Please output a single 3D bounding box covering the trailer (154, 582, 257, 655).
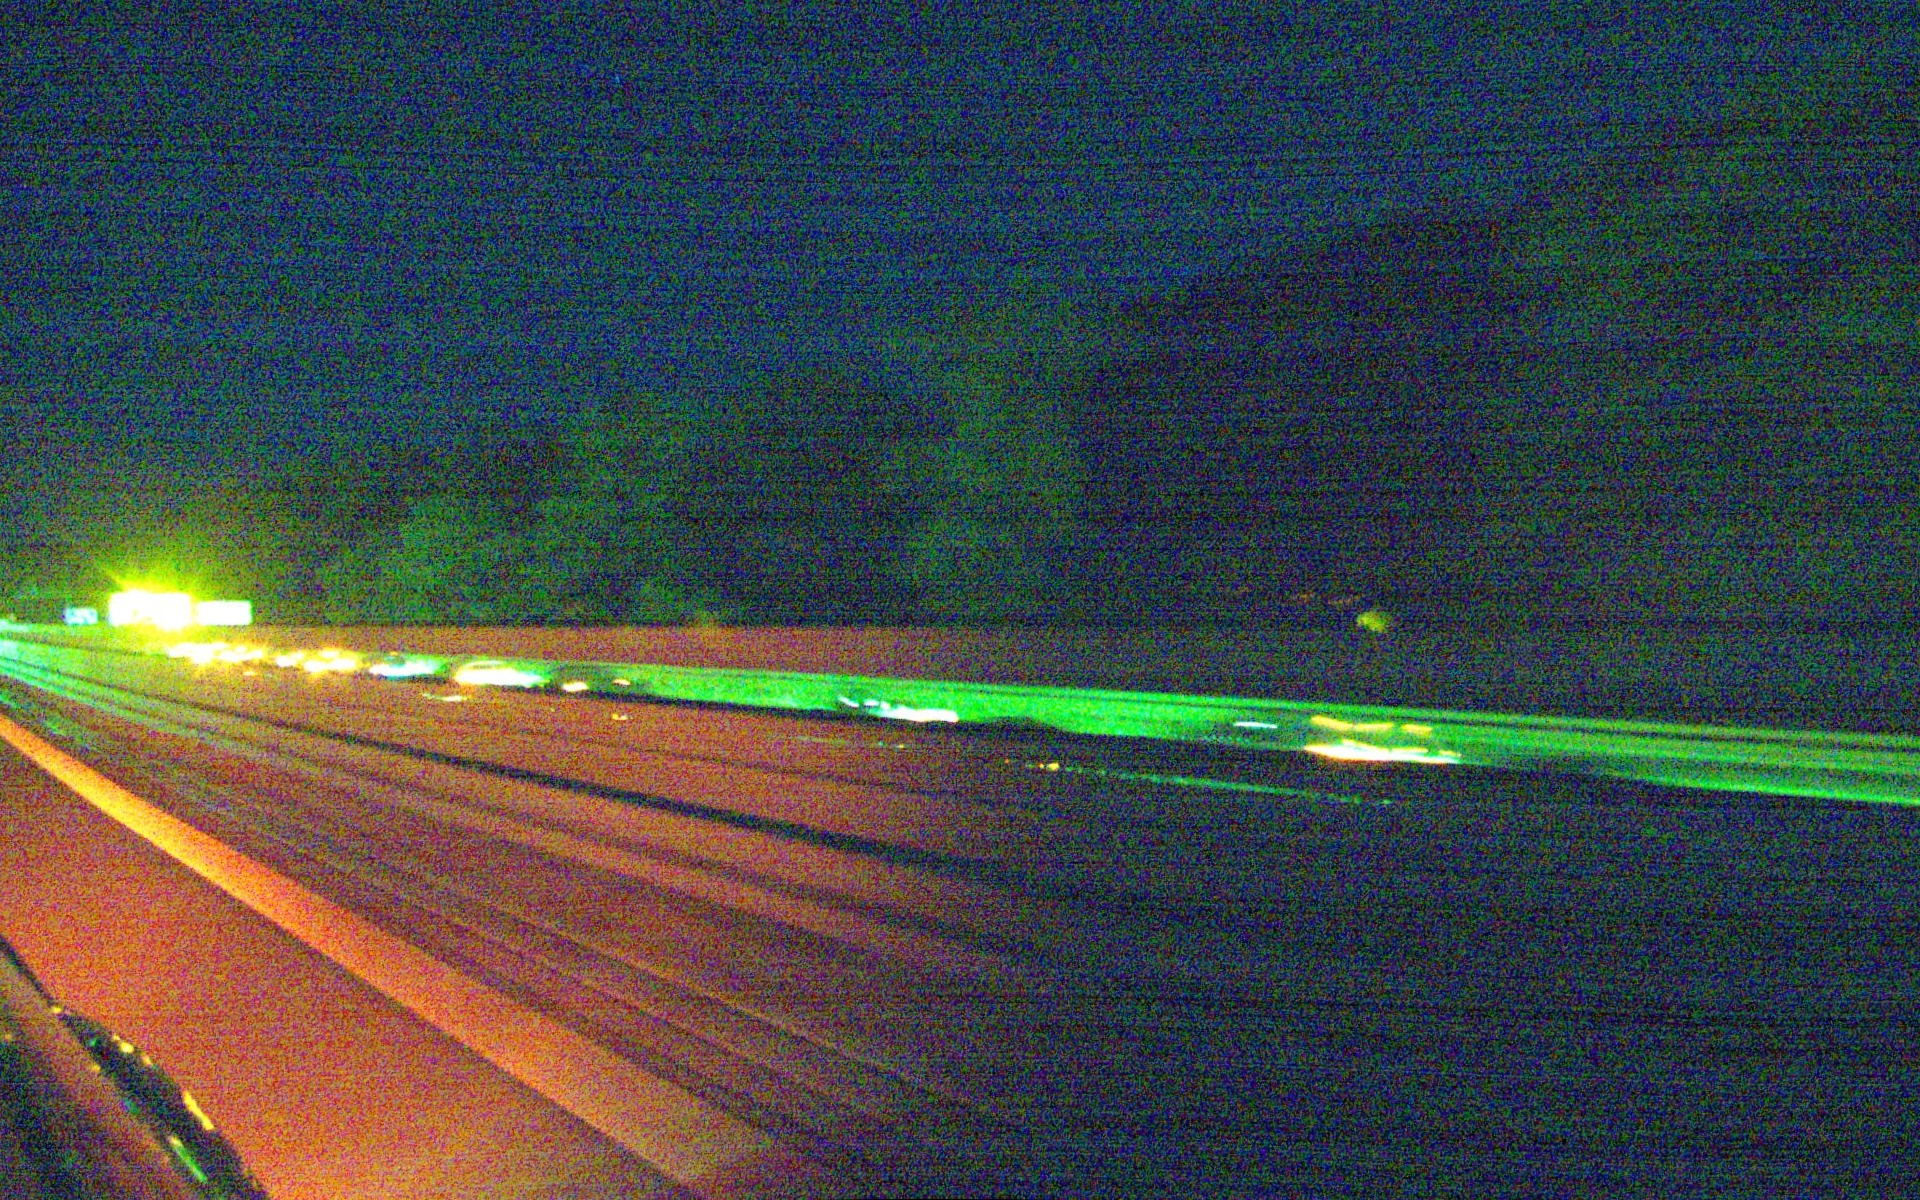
[{"bbox_3d":[-50.051,1.127,66.860,14.817,4.348,3.113,-1,1,45],"label":"trailer"}]

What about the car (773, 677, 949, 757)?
[{"bbox_3d":[-2.290,2.554,22.756,3.998,1.409,1.680,-2,-1,42],"label":"car"}]

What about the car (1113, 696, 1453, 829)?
[{"bbox_3d":[4.920,2.393,15.808,4.705,1.464,1.885,-1,-1,38],"label":"car"}]

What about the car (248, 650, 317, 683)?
[{"bbox_3d":[-34.993,3.413,52.219,4.402,1.502,1.972,-2,-1,43],"label":"car"}]

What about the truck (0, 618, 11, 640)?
[{"bbox_3d":[-164.077,4.962,172.484,8.545,3.618,2.627,-2,-1,41],"label":"truck"}]

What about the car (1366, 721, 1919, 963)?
[{"bbox_3d":[6.580,2.102,9.631,4.705,1.464,1.885,-1,-1,38],"label":"car"}]

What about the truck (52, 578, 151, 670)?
[{"bbox_3d":[-38.530,0.999,45.319,6.756,3.771,2.575,-1,1,43],"label":"truck"}]

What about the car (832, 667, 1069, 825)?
[{"bbox_3d":[-0.187,2.076,15.338,3.322,2.029,1.605,-1,-3,38],"label":"car"}]

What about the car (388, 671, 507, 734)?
[{"bbox_3d":[-13.970,2.711,27.481,1.779,1.427,4.003,2,-3,-44],"label":"car"}]

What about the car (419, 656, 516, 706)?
[{"bbox_3d":[-18.176,2.937,37.269,1.971,1.560,4.141,0,-1,-45],"label":"car"}]

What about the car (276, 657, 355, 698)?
[{"bbox_3d":[-25.709,3.046,40.329,4.001,1.427,1.780,-2,-3,44],"label":"car"}]

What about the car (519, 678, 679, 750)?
[{"bbox_3d":[-8.305,2.534,23.141,3.998,1.313,1.701,-1,-2,41],"label":"car"}]

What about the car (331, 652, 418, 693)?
[{"bbox_3d":[-24.727,3.007,42.677,4.402,1.502,1.972,-2,-1,43],"label":"car"}]

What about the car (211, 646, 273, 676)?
[{"bbox_3d":[-40.463,3.424,56.968,4.402,1.502,1.972,-2,-1,43],"label":"car"}]

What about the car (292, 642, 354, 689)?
[{"bbox_3d":[-30.133,3.048,47.835,1.866,2.029,4.005,0,-1,-41],"label":"car"}]

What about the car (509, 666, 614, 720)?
[{"bbox_3d":[-12.487,2.854,31.613,1.686,1.387,4.004,1,-2,-43],"label":"car"}]

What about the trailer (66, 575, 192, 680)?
[{"bbox_3d":[-33.475,1.012,40.572,10.126,3.741,2.507,-1,1,43],"label":"trailer"}]
